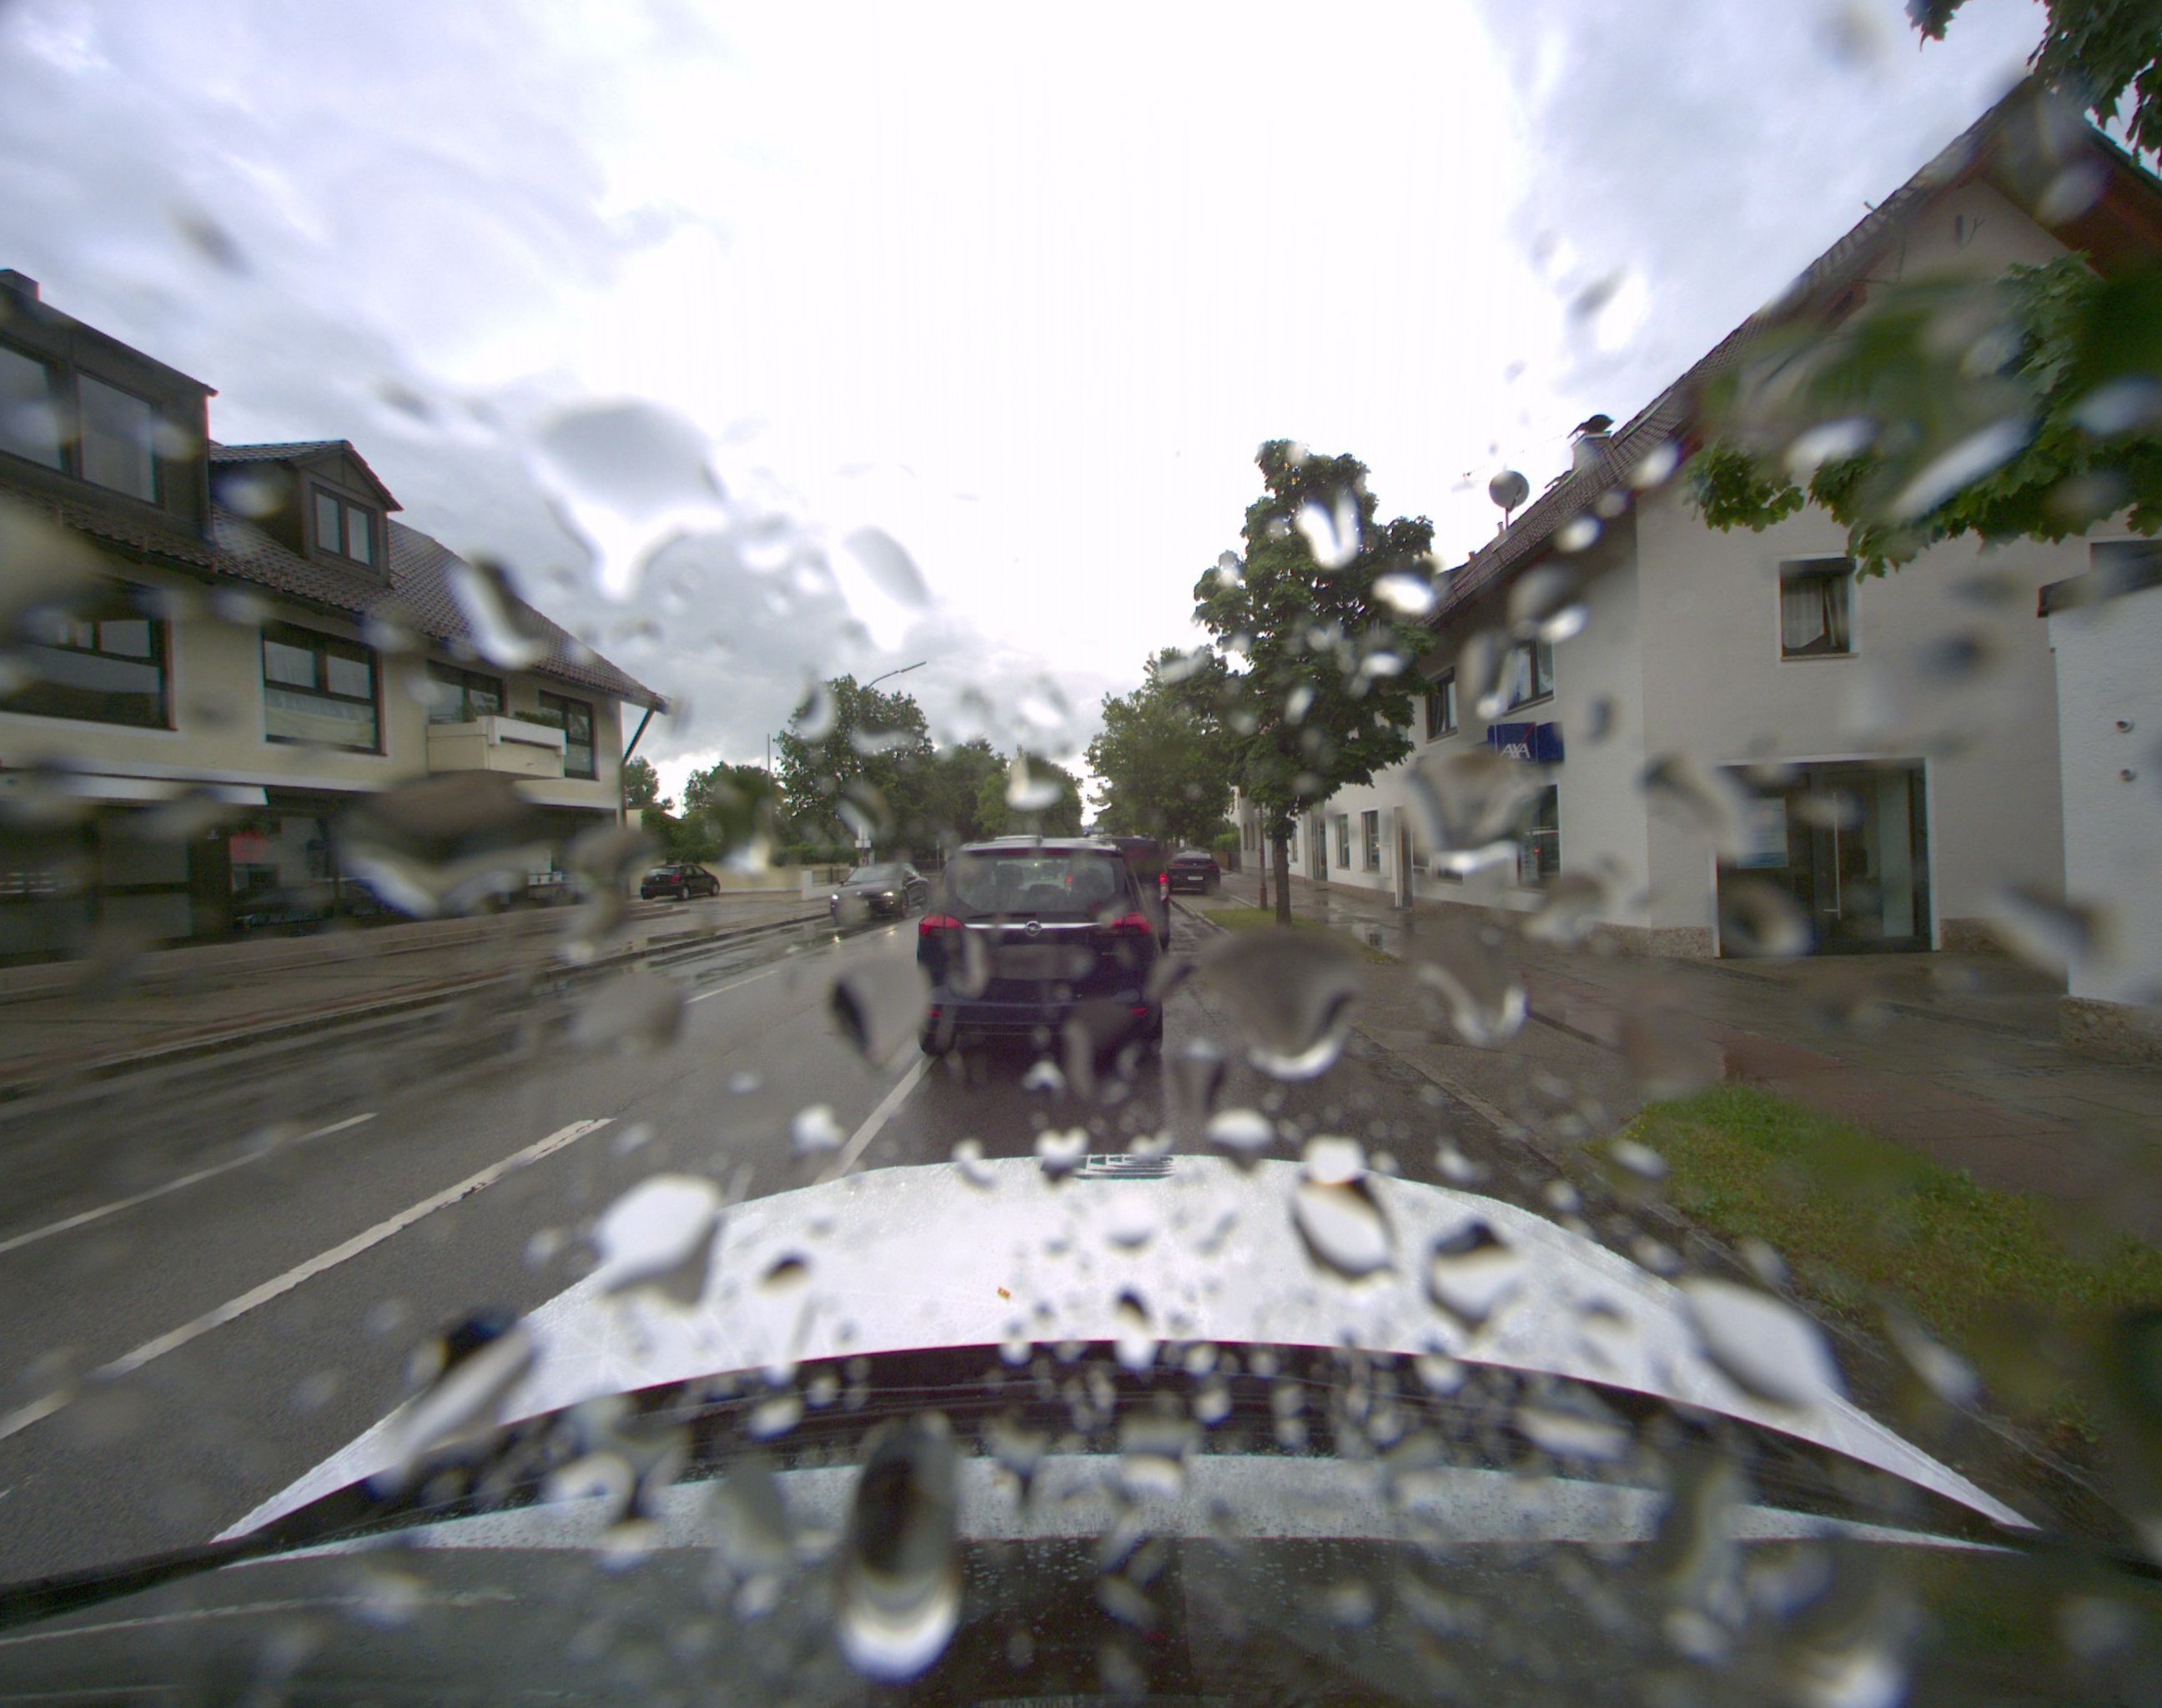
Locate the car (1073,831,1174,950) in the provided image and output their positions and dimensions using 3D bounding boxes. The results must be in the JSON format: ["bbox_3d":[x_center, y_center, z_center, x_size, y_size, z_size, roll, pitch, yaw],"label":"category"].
[{"bbox_3d":[0.689,0.542,13.801,1.494,1.776,3.113,-1,0,2],"label":"car"}]

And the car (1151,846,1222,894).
[{"bbox_3d":[3.679,0.551,29.015,2.110,1.581,3.936,0,0,1],"label":"car"}]

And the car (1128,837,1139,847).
[{"bbox_3d":[8.154,-1.883,127.188,1.624,1.378,3.624,-3,0,2],"label":"car"}]

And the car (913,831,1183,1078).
[{"bbox_3d":[-0.155,0.659,7.186,1.762,1.604,3.665,-1,0,2],"label":"car"}]

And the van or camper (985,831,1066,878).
[{"bbox_3d":[-3.511,0.076,49.994,2.109,2.707,6.203,-2,0,-33],"label":"van or camper"}]

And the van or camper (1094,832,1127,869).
[{"bbox_3d":[2.251,-0.271,62.481,2.351,2.665,5.374,-2,0,2],"label":"van or camper"}]

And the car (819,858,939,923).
[{"bbox_3d":[-5.183,0.885,21.485,1.989,1.407,3.885,-3,0,2],"label":"car"}]

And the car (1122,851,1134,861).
[{"bbox_3d":[6.819,0.268,117.874,1.624,1.378,3.624,-1,-1,2],"label":"car"}]

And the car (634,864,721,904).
[{"bbox_3d":[-16.221,1.167,32.919,1.601,1.380,3.510,-3,0,2],"label":"car"}]
